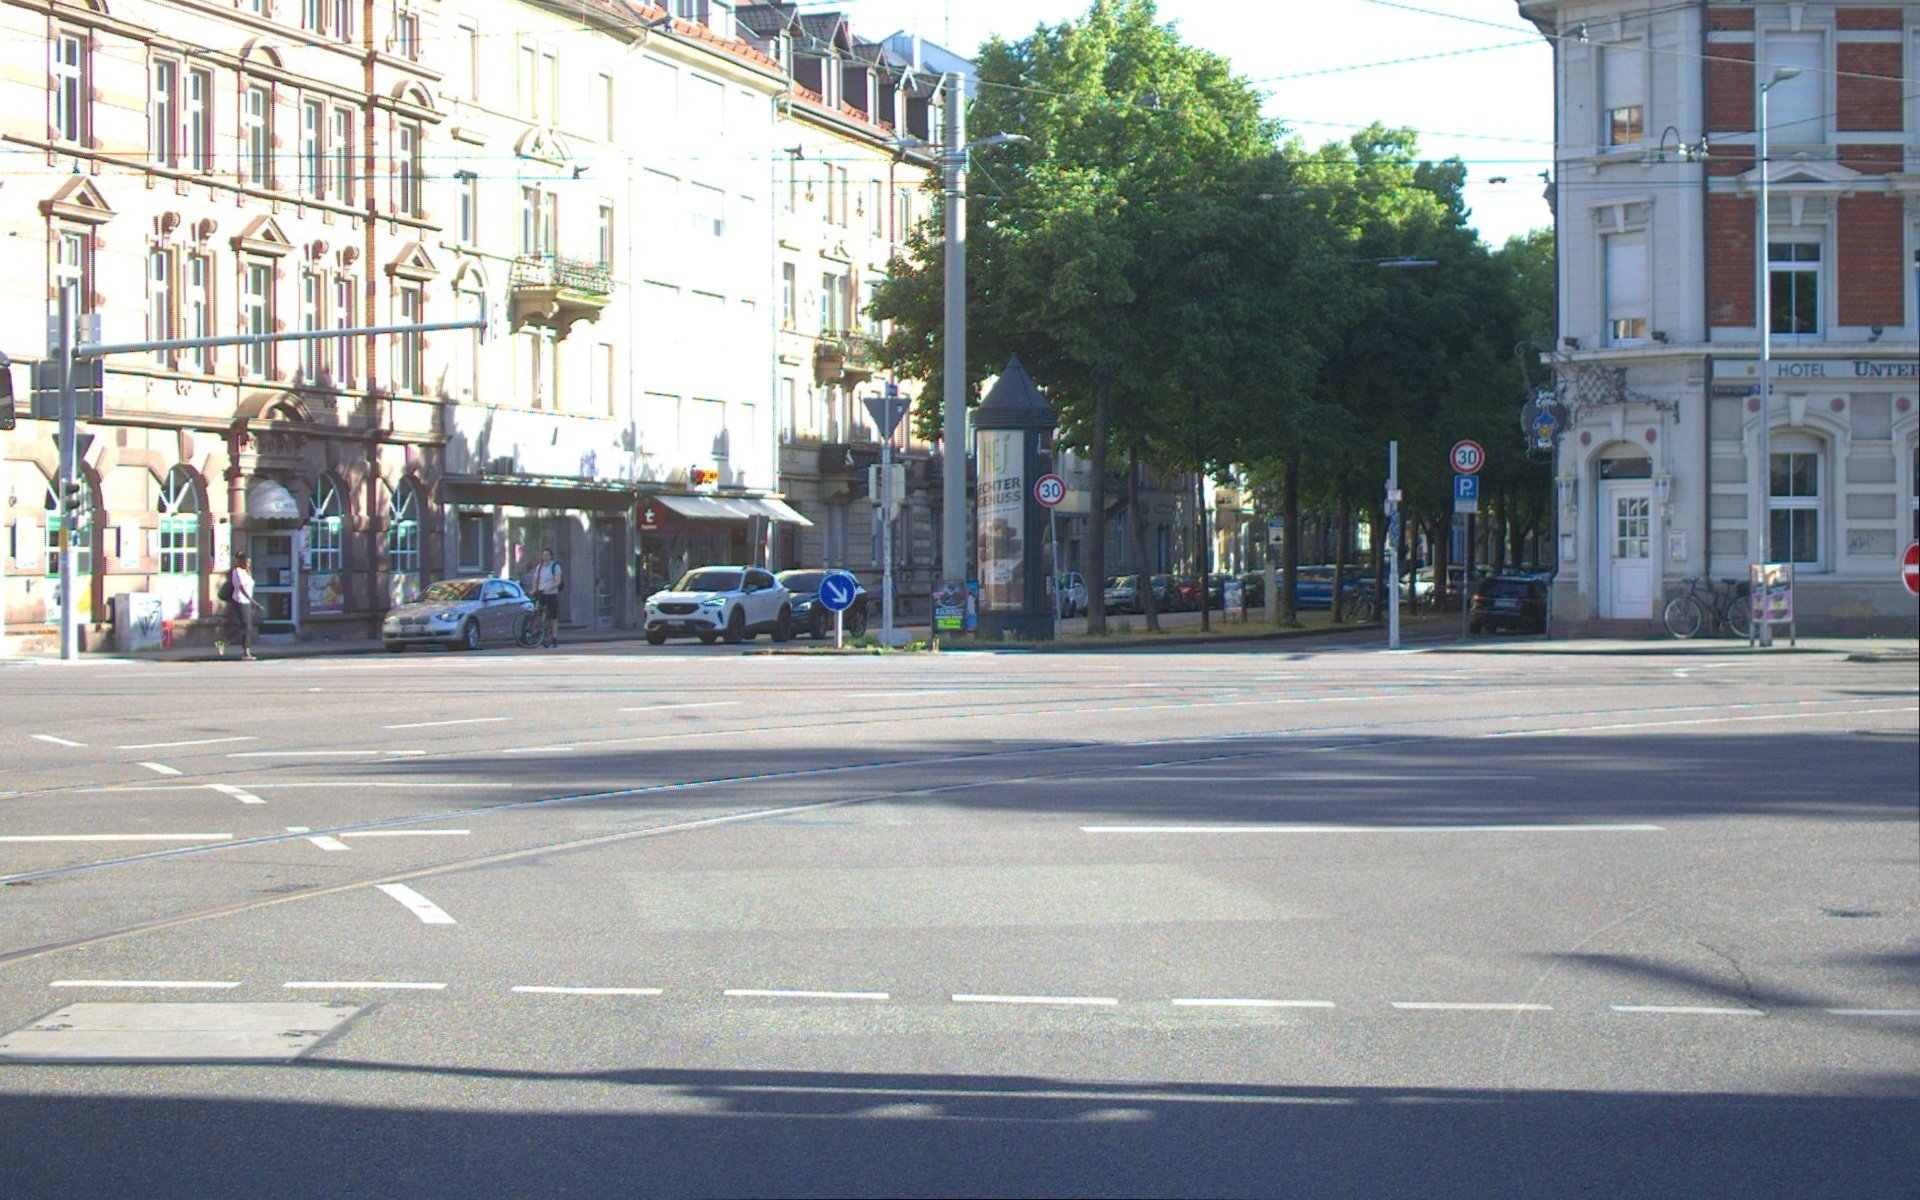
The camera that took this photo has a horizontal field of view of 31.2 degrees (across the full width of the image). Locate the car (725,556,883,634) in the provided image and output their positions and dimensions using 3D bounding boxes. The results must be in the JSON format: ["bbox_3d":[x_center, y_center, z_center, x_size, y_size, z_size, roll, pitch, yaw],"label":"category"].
[{"bbox_3d":[-3.313,-0.135,73.853,1.995,1.606,4.387,0,1,17],"label":"car"}]

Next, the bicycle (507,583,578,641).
[{"bbox_3d":[-7.884,0.218,65.026,0.680,1.062,2.124,0,1,12],"label":"bicycle"}]

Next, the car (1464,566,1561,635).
[{"bbox_3d":[13.275,-0.012,82.455,1.995,1.579,3.998,0,1,14],"label":"car"}]

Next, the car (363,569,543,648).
[{"bbox_3d":[-9.847,0.149,67.065,1.900,1.450,3.997,0,1,17],"label":"car"}]

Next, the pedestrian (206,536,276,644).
[{"bbox_3d":[-11.678,-0.173,55.839,1.046,1.738,0.809,0,1,-15],"label":"pedestrian"}]

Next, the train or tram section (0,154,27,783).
[{"bbox_3d":[-5.994,-0.629,13.949,2.769,3.488,12.033,0,1,-8],"label":"train or tram section"}]

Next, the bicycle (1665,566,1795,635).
[{"bbox_3d":[12.862,0.010,57.404,2.085,1.120,0.367,1,0,-4],"label":"bicycle"}]

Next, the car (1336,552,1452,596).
[{"bbox_3d":[16.869,-1.017,133.638,3.993,1.700,1.997,0,1,30],"label":"car"}]

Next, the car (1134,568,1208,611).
[{"bbox_3d":[8.041,-0.420,130.469,1.839,1.547,4.387,0,1,17],"label":"car"}]

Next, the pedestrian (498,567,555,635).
[{"bbox_3d":[-9.905,0.016,78.569,0.929,1.530,1.136,0,1,14],"label":"pedestrian"}]

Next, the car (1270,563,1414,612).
[{"bbox_3d":[12.812,-0.440,115.441,4.382,1.606,1.997,0,1,27],"label":"car"}]

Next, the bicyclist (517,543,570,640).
[{"bbox_3d":[-7.873,-0.162,65.062,0.679,1.814,1.070,0,1,12],"label":"bicyclist"}]

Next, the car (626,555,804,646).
[{"bbox_3d":[-4.759,-0.017,67.340,1.995,1.678,4.387,0,1,17],"label":"car"}]

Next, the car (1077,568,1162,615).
[{"bbox_3d":[5.714,-0.301,122.679,1.995,1.606,4.387,0,1,17],"label":"car"}]

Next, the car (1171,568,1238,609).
[{"bbox_3d":[9.707,-0.470,136.346,1.766,1.544,4.387,0,1,16],"label":"car"}]
